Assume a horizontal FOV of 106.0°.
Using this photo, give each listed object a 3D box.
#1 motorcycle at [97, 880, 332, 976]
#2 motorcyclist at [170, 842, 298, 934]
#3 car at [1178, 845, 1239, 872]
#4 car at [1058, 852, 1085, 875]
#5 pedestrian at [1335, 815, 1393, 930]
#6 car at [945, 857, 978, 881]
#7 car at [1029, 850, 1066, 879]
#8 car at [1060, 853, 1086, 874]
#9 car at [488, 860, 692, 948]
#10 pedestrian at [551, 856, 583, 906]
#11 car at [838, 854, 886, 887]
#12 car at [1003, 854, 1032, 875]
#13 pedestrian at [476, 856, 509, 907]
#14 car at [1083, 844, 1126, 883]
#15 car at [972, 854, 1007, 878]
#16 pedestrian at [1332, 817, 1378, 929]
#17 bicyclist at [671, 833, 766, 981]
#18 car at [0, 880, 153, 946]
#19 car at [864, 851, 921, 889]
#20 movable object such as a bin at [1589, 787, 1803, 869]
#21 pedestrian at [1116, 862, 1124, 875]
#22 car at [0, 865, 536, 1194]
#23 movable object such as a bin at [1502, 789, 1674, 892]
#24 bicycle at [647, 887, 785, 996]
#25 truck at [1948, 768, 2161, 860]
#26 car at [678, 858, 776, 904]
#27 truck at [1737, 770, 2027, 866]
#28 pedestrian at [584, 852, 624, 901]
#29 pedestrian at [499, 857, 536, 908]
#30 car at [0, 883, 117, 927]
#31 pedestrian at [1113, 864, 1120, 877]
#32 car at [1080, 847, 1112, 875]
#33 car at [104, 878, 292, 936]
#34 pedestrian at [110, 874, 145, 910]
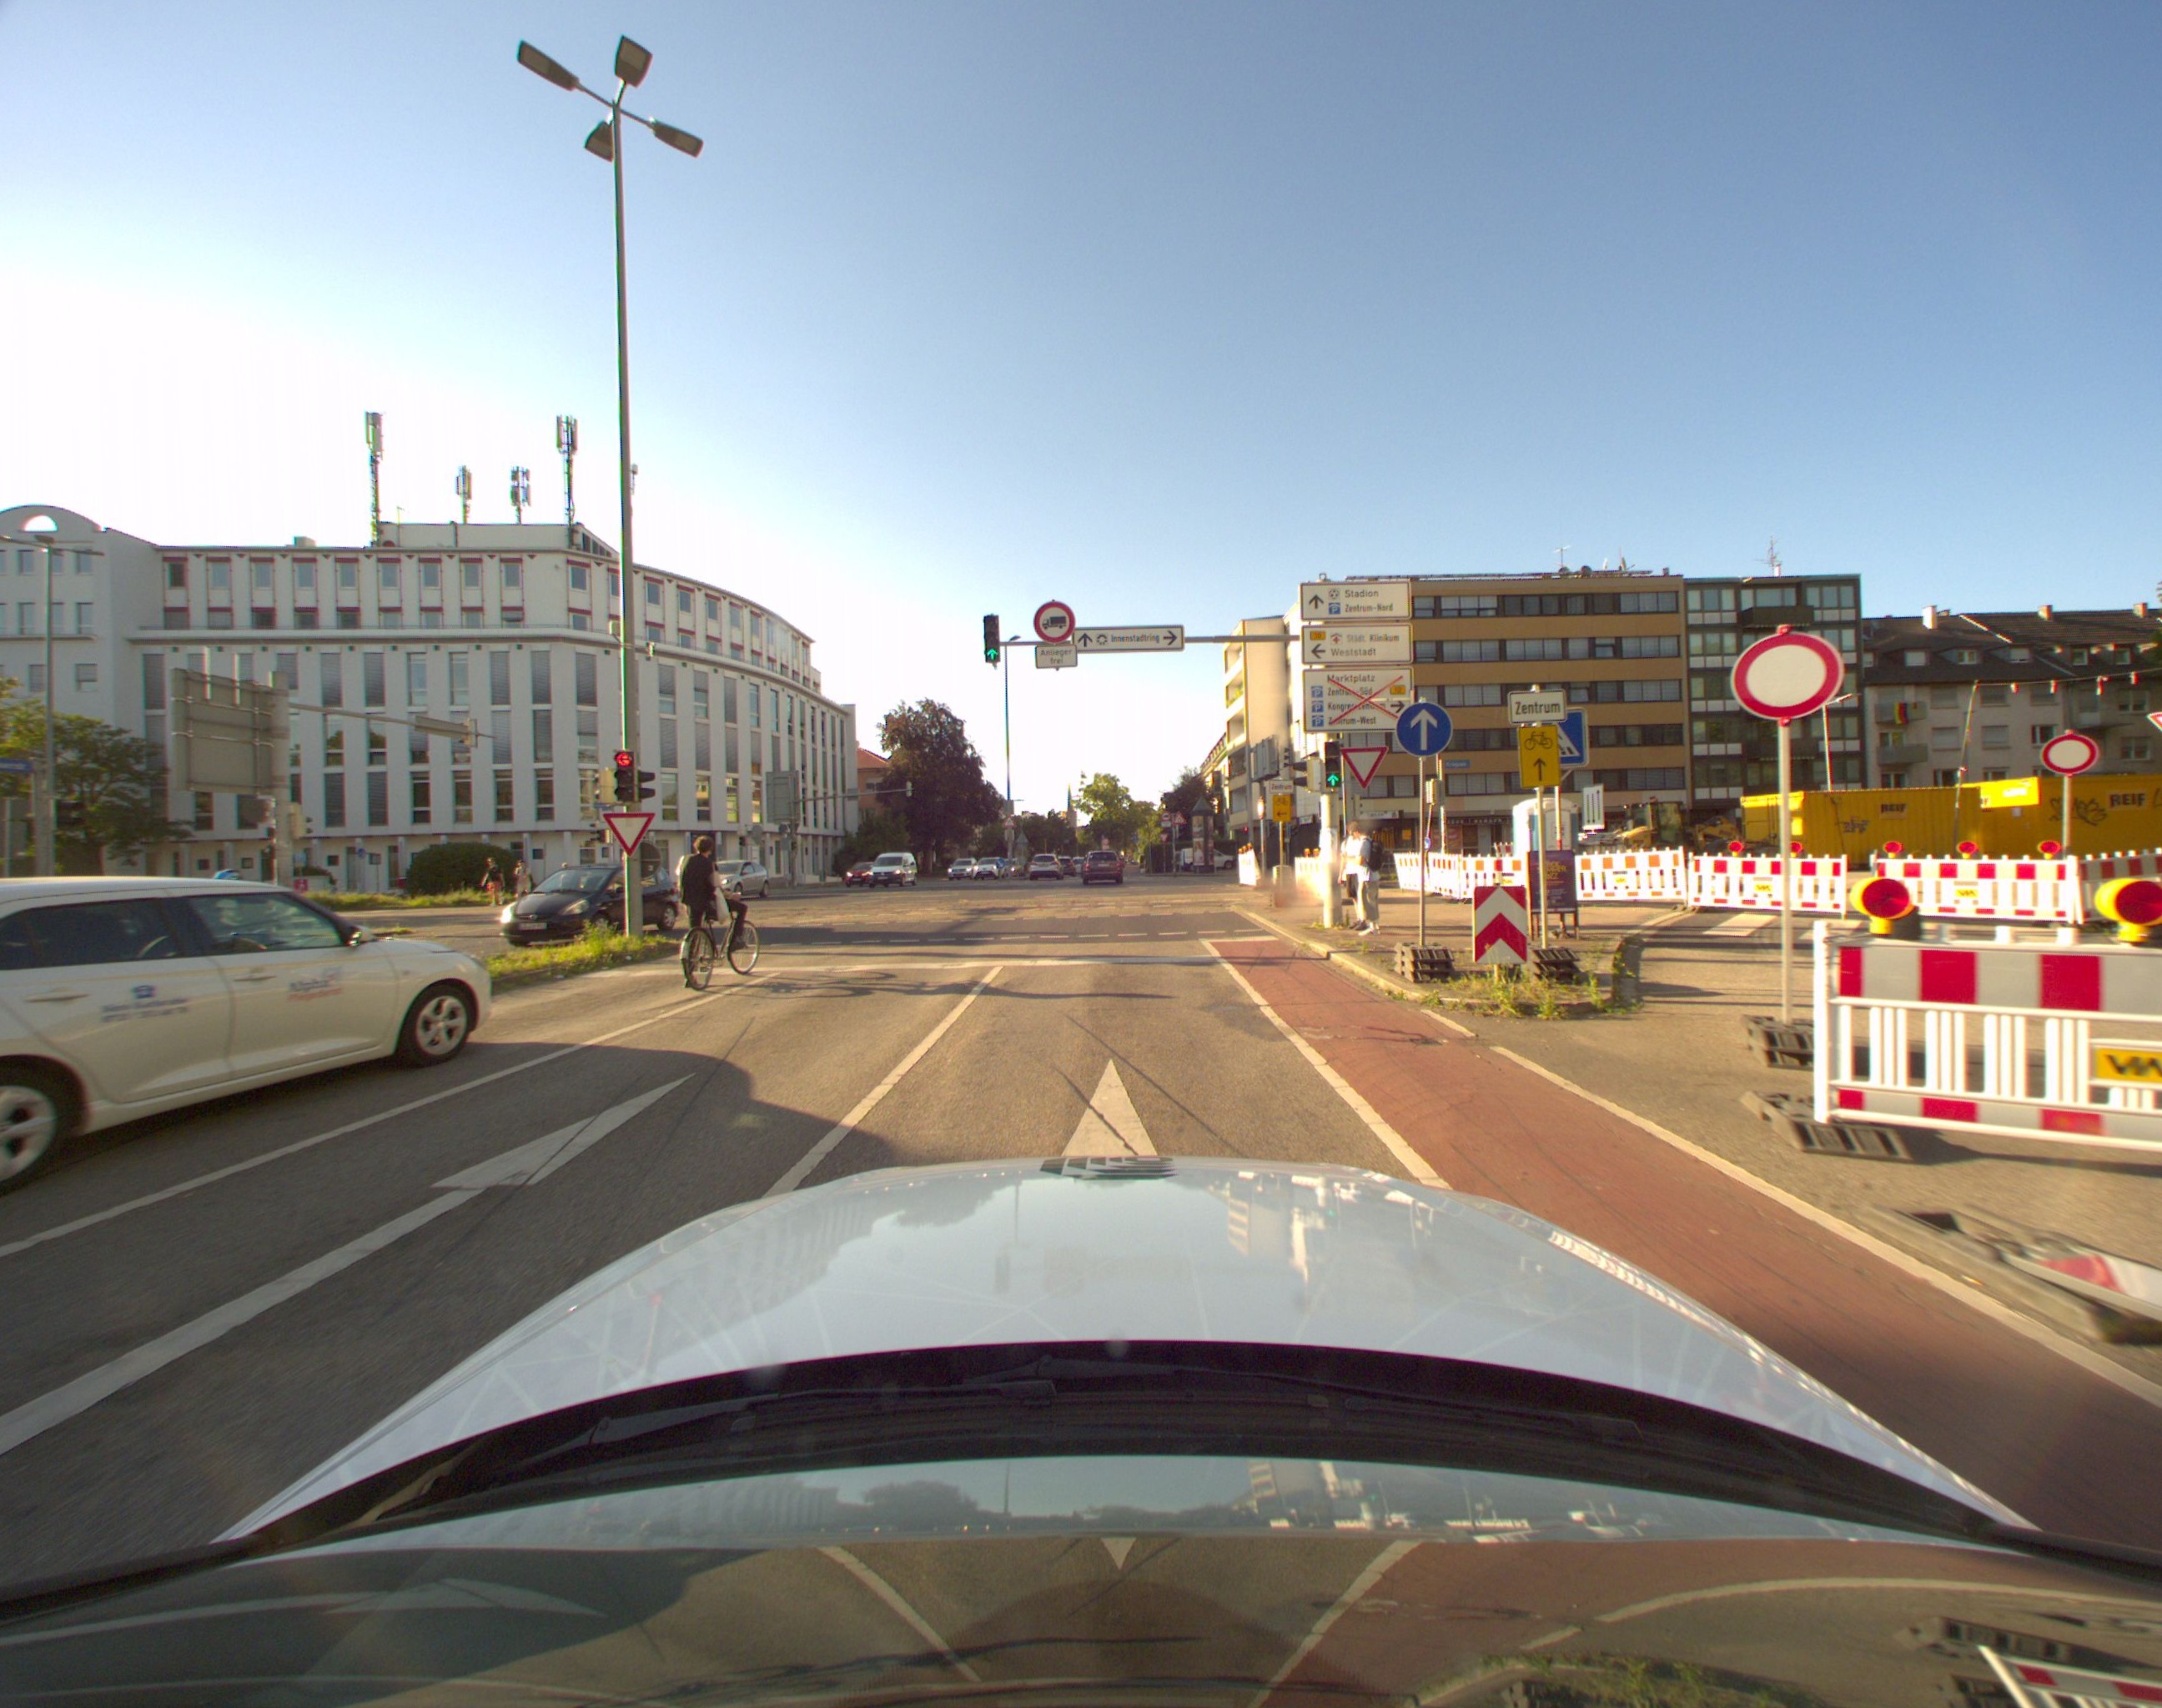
[{"bbox_3d":[-13.899,1.125,13.257,0.767,1.284,2.842,-2,0,0],"label":"motorcycle"},{"bbox_3d":[-13.900,0.531,13.412,0.767,1.419,1.238,-2,0,0],"label":"motorcyclist"},{"bbox_3d":[9.781,0.366,62.767,4.349,1.877,2.000,-2,0,0],"label":"car"},{"bbox_3d":[-0.656,0.682,60.346,1.741,1.564,4.052,-2,0,2],"label":"car"},{"bbox_3d":[4.598,0.289,13.205,0.734,1.799,0.719,-2,0,27],"label":"pedestrian"},{"bbox_3d":[-9.039,1.104,61.919,1.874,1.654,4.048,-2,0,-1],"label":"car"},{"bbox_3d":[-1.925,0.568,47.203,1.741,1.564,4.052,-2,0,2],"label":"car"},{"bbox_3d":[-0.618,0.824,67.611,1.986,1.508,4.000,-3,-2,1],"label":"car"},{"bbox_3d":[-9.752,0.905,16.606,1.652,1.494,4.000,-2,0,1],"label":"car"},{"bbox_3d":[-19.867,1.034,31.476,0.653,1.868,0.783,-2,0,30],"label":"pedestrian"},{"bbox_3d":[-13.044,0.956,48.706,1.743,1.811,4.048,-2,0,-1],"label":"car"},{"bbox_3d":[-4.731,0.790,61.172,1.842,1.461,4.048,-2,0,-1],"label":"car"},{"bbox_3d":[-22.119,1.027,30.602,0.653,1.859,0.783,-2,-1,35],"label":"pedestrian"},{"bbox_3d":[1.066,0.408,36.123,1.741,1.564,4.052,-2,0,2],"label":"car"},{"bbox_3d":[-6.143,0.787,55.055,1.842,1.461,4.048,-2,0,-1],"label":"car"},{"bbox_3d":[4.704,0.320,14.006,0.519,1.868,0.614,-2,0,-1],"label":"pedestrian"},{"bbox_3d":[-4.475,0.627,10.125,0.689,1.728,0.987,-2,0,-1],"label":"bicyclist"},{"bbox_3d":[-28.919,1.633,22.590,4.323,1.629,2.003,-2,0,6],"label":"car"},{"bbox_3d":[-9.850,0.785,42.886,1.909,1.811,4.716,-2,0,-1],"label":"car"},{"bbox_3d":[20.738,-0.841,27.684,5.334,2.490,2.547,-2,0,-1],"label":"movable object such as a bin"},{"bbox_3d":[6.352,2.346,133.672,1.205,2.013,1.422,-2,0,0],"label":"pedestrian"},{"bbox_3d":[-5.761,0.853,5.214,1.678,1.457,4.003,-1,0,3],"label":"car"},{"bbox_3d":[12.745,-0.329,20.599,3.316,2.383,1.529,-2,0,1],"label":"movable object such as a bin"},{"bbox_3d":[-4.459,1.013,10.160,0.697,1.100,2.257,-2,0,-1],"label":"bicycle"},{"bbox_3d":[35.123,-1.360,28.176,7.310,2.898,2.807,-2,0,-1],"label":"truck"},{"bbox_3d":[-13.188,0.956,30.646,1.652,1.494,4.347,-2,0,1],"label":"car"},{"bbox_3d":[27.327,-1.191,28.021,7.312,2.898,2.806,-2,0,-2],"label":"truck"},{"bbox_3d":[-18.661,0.854,31.881,0.620,1.868,1.134,-2,0,30],"label":"pedestrian"},{"bbox_3d":[-21.145,1.057,30.576,0.753,1.842,0.822,-2,0,16],"label":"pedestrian"},{"bbox_3d":[-49.439,2.433,39.050,3.893,1.736,1.752,-2,-8,-40],"label":"car"},{"bbox_3d":[4.547,2.118,104.807,0.859,1.607,0.705,-2,0,0],"label":"pedestrian"},{"bbox_3d":[0.945,0.425,50.470,1.813,1.640,4.001,-2,0,1],"label":"car"},{"bbox_3d":[-27.851,1.652,25.781,3.798,1.530,1.862,-3,-2,-2],"label":"car"},{"bbox_3d":[-49.679,1.975,42.430,0.913,1.792,0.671,-2,0,-16],"label":"pedestrian"}]
